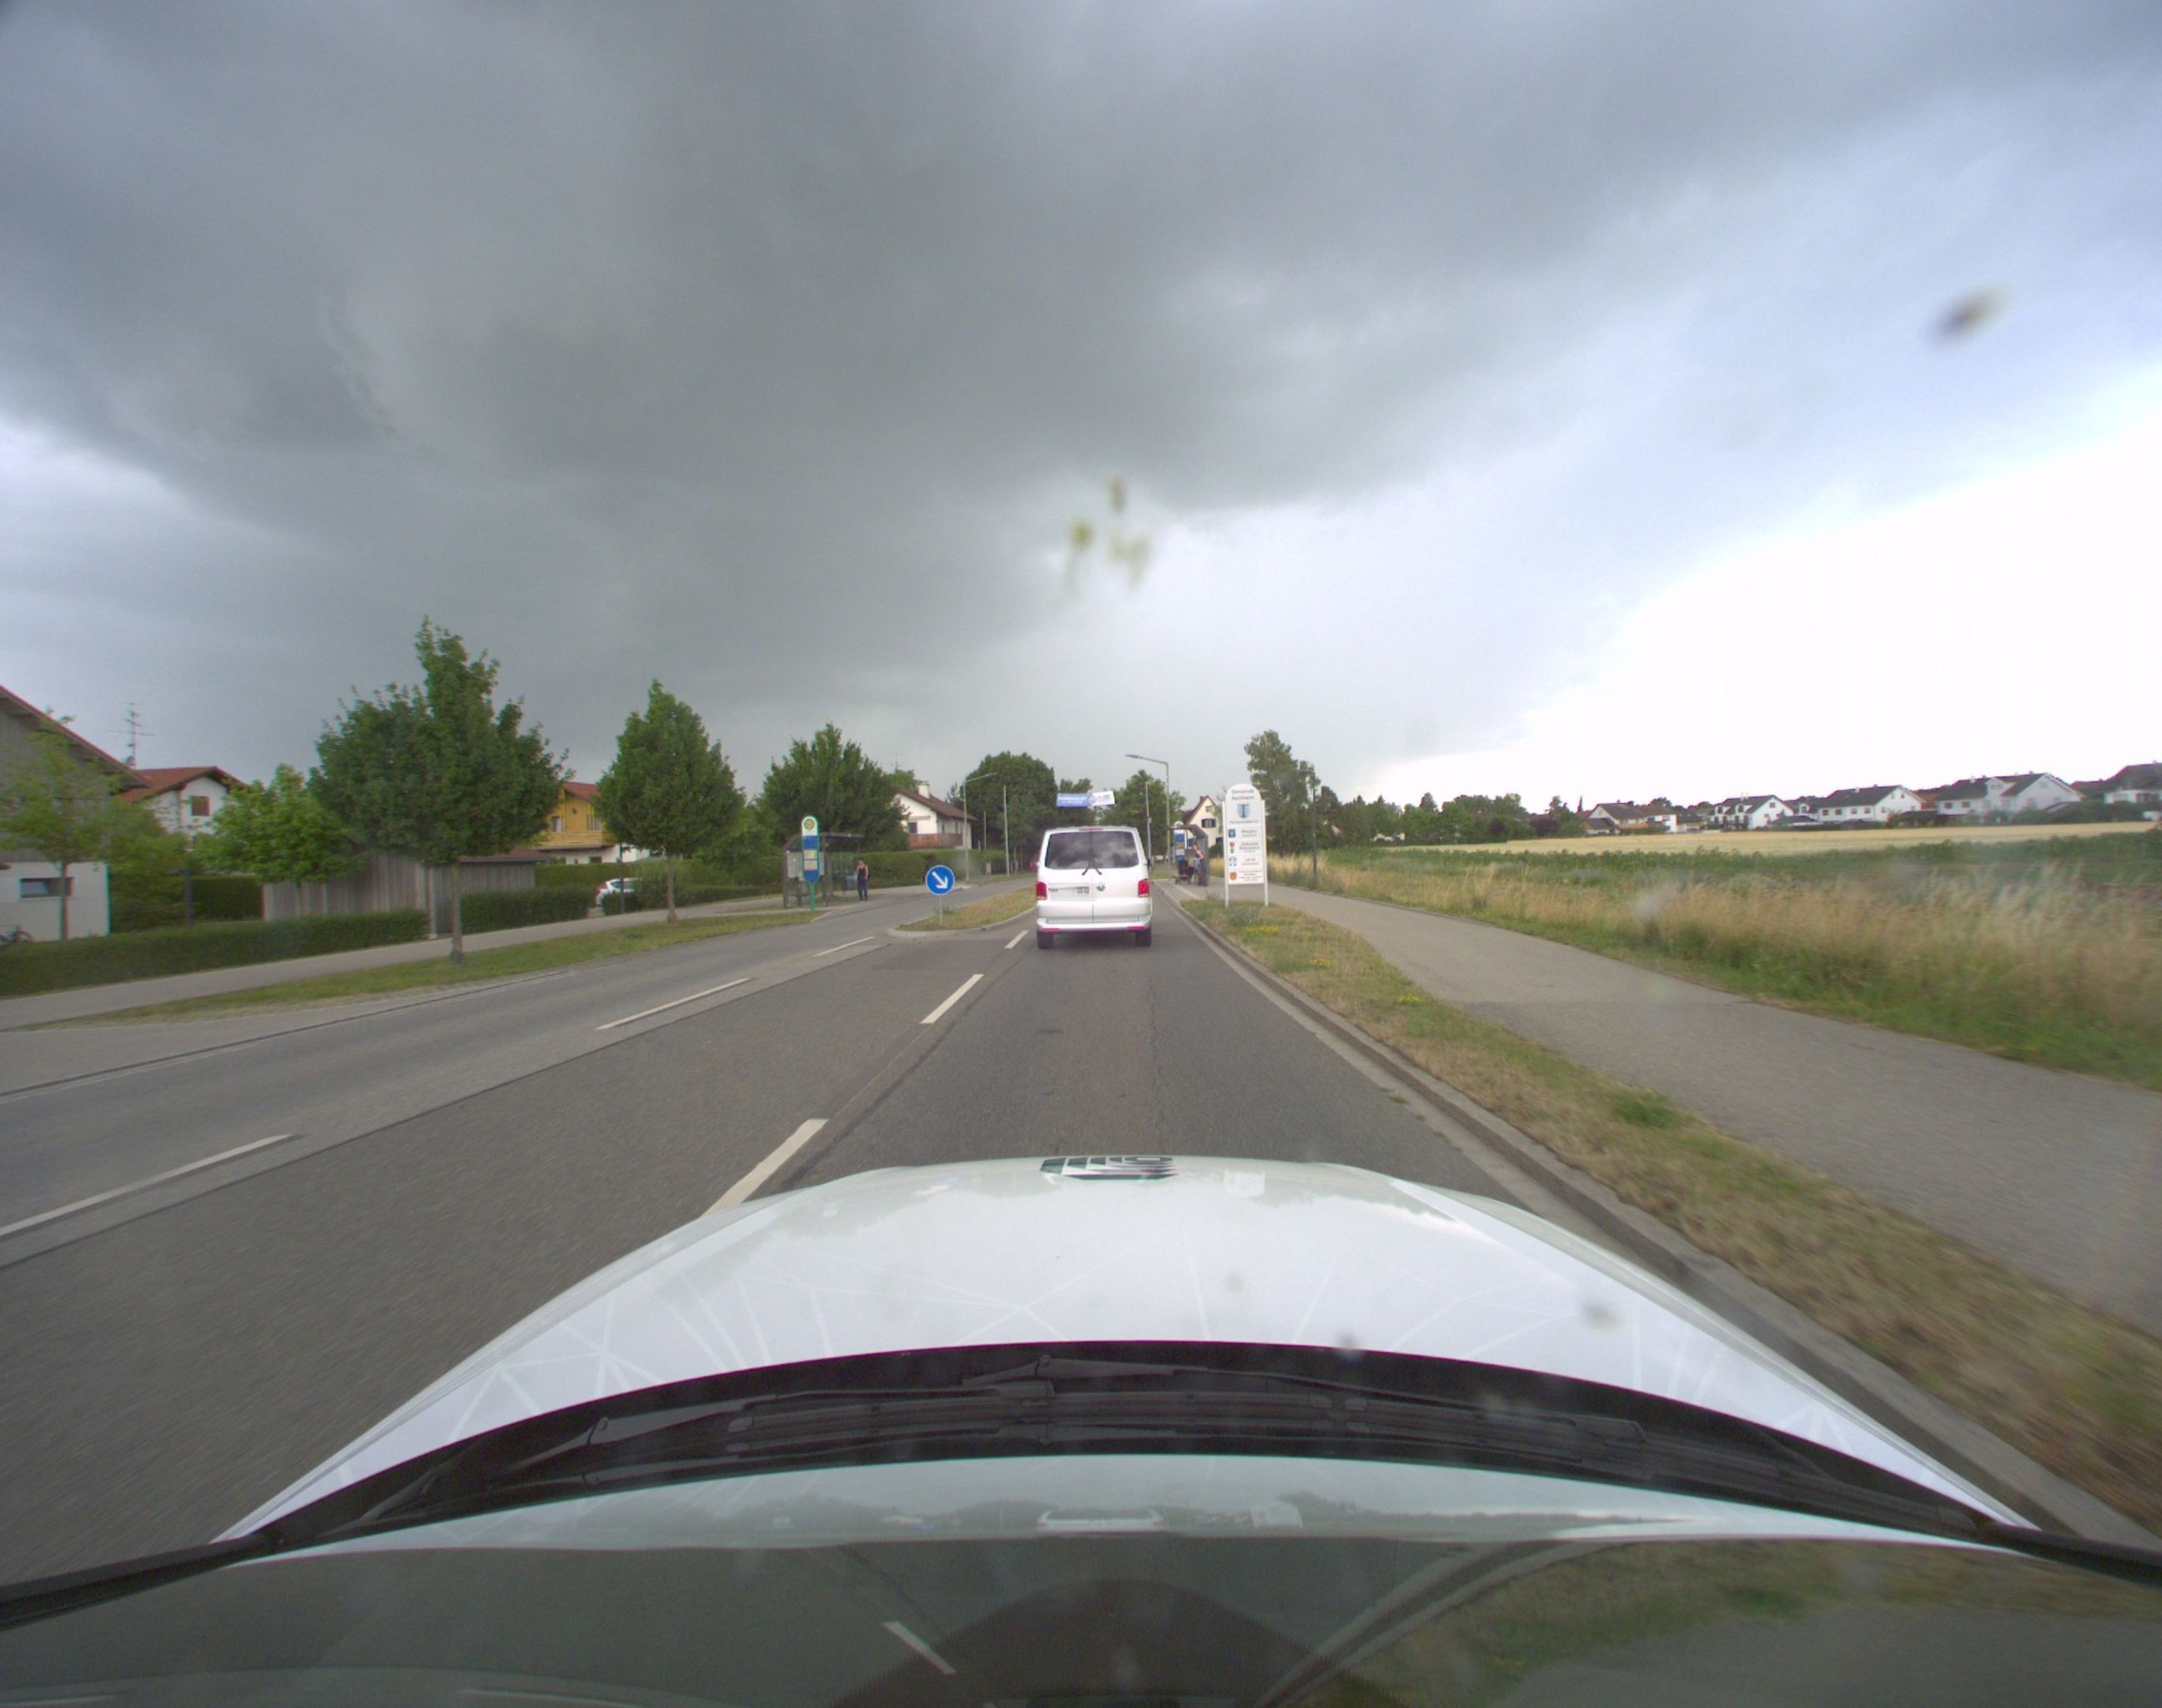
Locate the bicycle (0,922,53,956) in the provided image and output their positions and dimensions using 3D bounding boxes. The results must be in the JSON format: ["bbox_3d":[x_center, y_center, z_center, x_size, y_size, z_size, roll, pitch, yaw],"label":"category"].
[{"bbox_3d":[-31.753,2.537,24.171,1.935,0.909,0.419,-2,0,0],"label":"bicycle"}]

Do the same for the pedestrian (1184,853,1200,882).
[{"bbox_3d":[4.893,0.599,36.015,0.660,1.302,0.506,0,-1,11],"label":"pedestrian"}]

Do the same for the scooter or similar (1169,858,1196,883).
[{"bbox_3d":[4.415,0.698,35.398,0.699,1.062,1.067,-1,-1,39],"label":"scooter or similar"}]

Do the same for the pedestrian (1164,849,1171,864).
[{"bbox_3d":[10.519,0.264,98.875,0.833,1.755,0.871,-1,-1,7],"label":"pedestrian"}]

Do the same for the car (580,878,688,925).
[{"bbox_3d":[-21.457,2.258,39.210,3.974,2.013,2.000,-2,0,0],"label":"car"}]

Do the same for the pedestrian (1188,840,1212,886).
[{"bbox_3d":[4.723,0.342,32.271,0.774,1.792,0.783,0,-1,23],"label":"pedestrian"}]

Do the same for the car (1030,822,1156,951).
[{"bbox_3d":[0.249,0.513,14.378,1.881,1.912,4.001,-1,-1,2],"label":"car"}]

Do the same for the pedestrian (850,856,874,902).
[{"bbox_3d":[-8.038,0.921,29.881,0.586,1.636,0.813,-2,0,2],"label":"pedestrian"}]

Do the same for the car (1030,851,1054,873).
[{"bbox_3d":[-3.683,0.761,78.074,1.822,2.030,5.050,0,0,3],"label":"car"}]

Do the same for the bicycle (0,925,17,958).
[{"bbox_3d":[-31.800,2.549,23.383,1.935,0.909,0.419,-2,0,0],"label":"bicycle"}]
